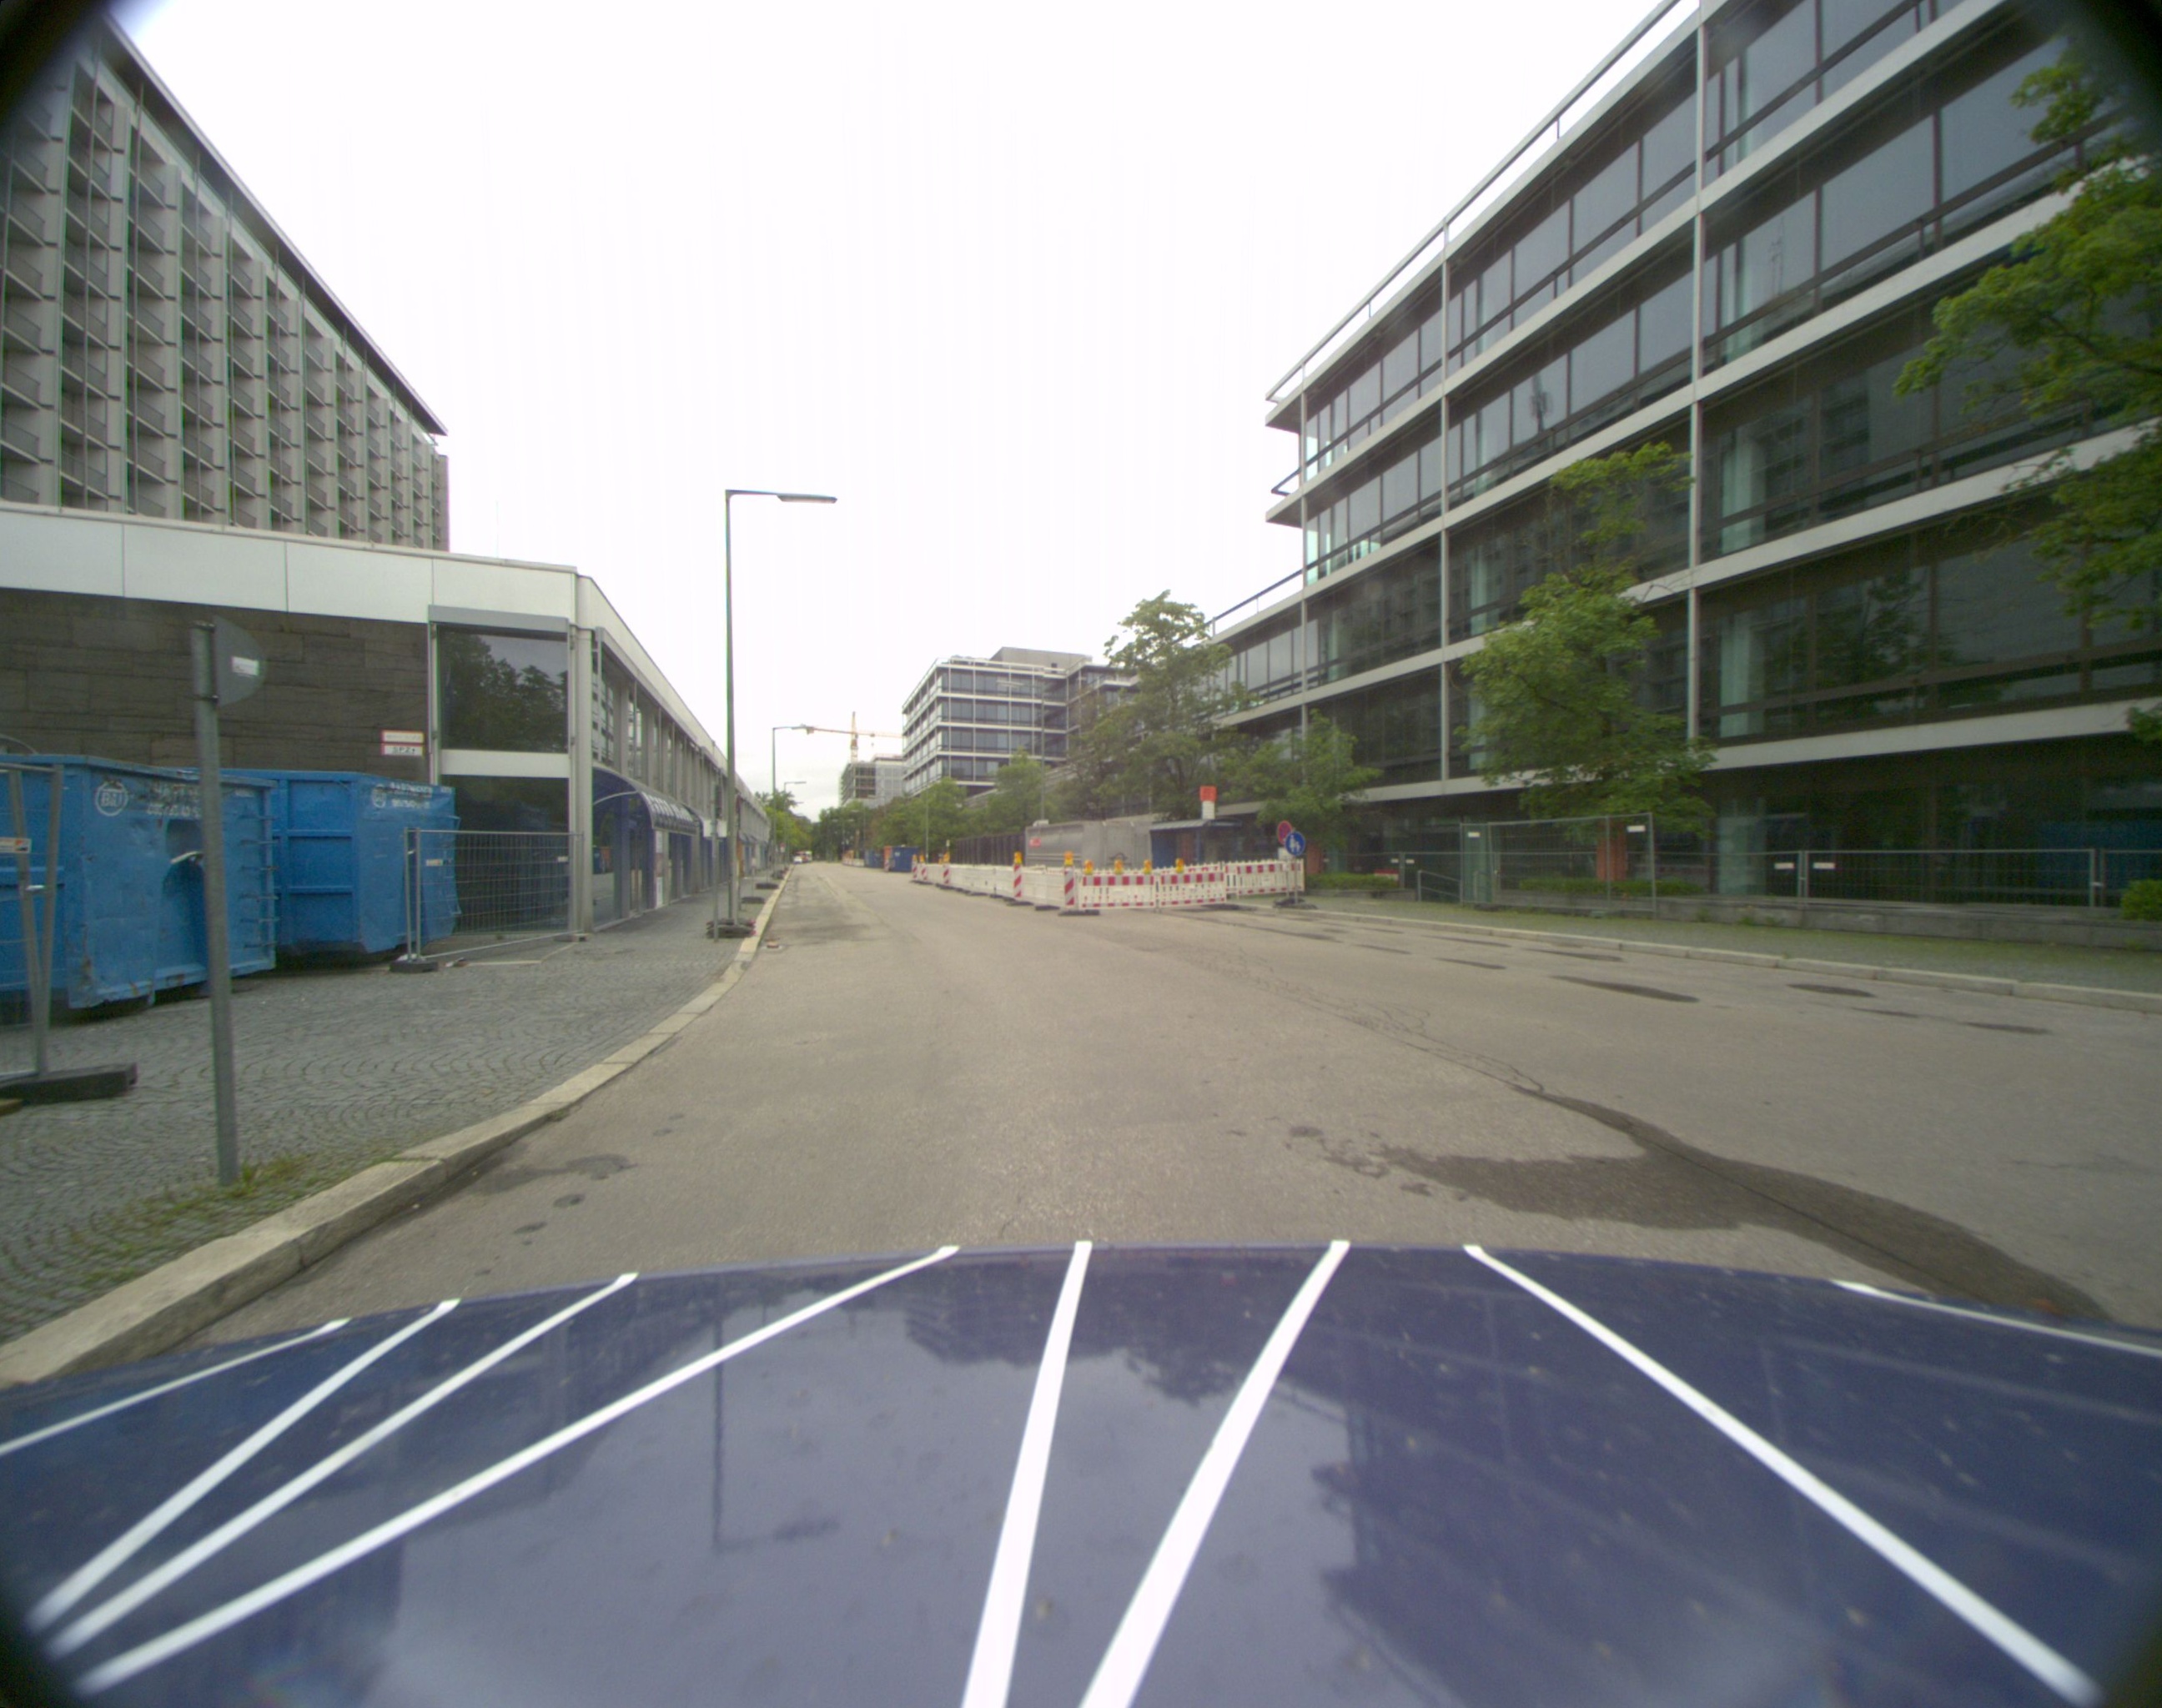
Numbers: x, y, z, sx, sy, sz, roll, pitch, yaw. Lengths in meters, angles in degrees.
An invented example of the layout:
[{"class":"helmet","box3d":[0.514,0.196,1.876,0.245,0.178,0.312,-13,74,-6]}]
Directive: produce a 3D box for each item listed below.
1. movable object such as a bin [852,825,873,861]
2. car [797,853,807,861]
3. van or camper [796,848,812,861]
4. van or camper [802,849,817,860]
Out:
[{"class":"movable object such as a bin","box3d":[-39.636,-1.897,137.762,3.247,6.285,8.322,0,0,-18]},{"class":"car","box3d":[-58.187,0.621,158.594,1.916,1.627,3.993,0,0,-18]},{"class":"van or camper","box3d":[-59.977,0.030,164.606,2.671,2.751,6.904,0,0,-17]},{"class":"van or camper","box3d":[-63.752,0.094,178.431,2.670,2.436,6.436,0,0,-14]}]
